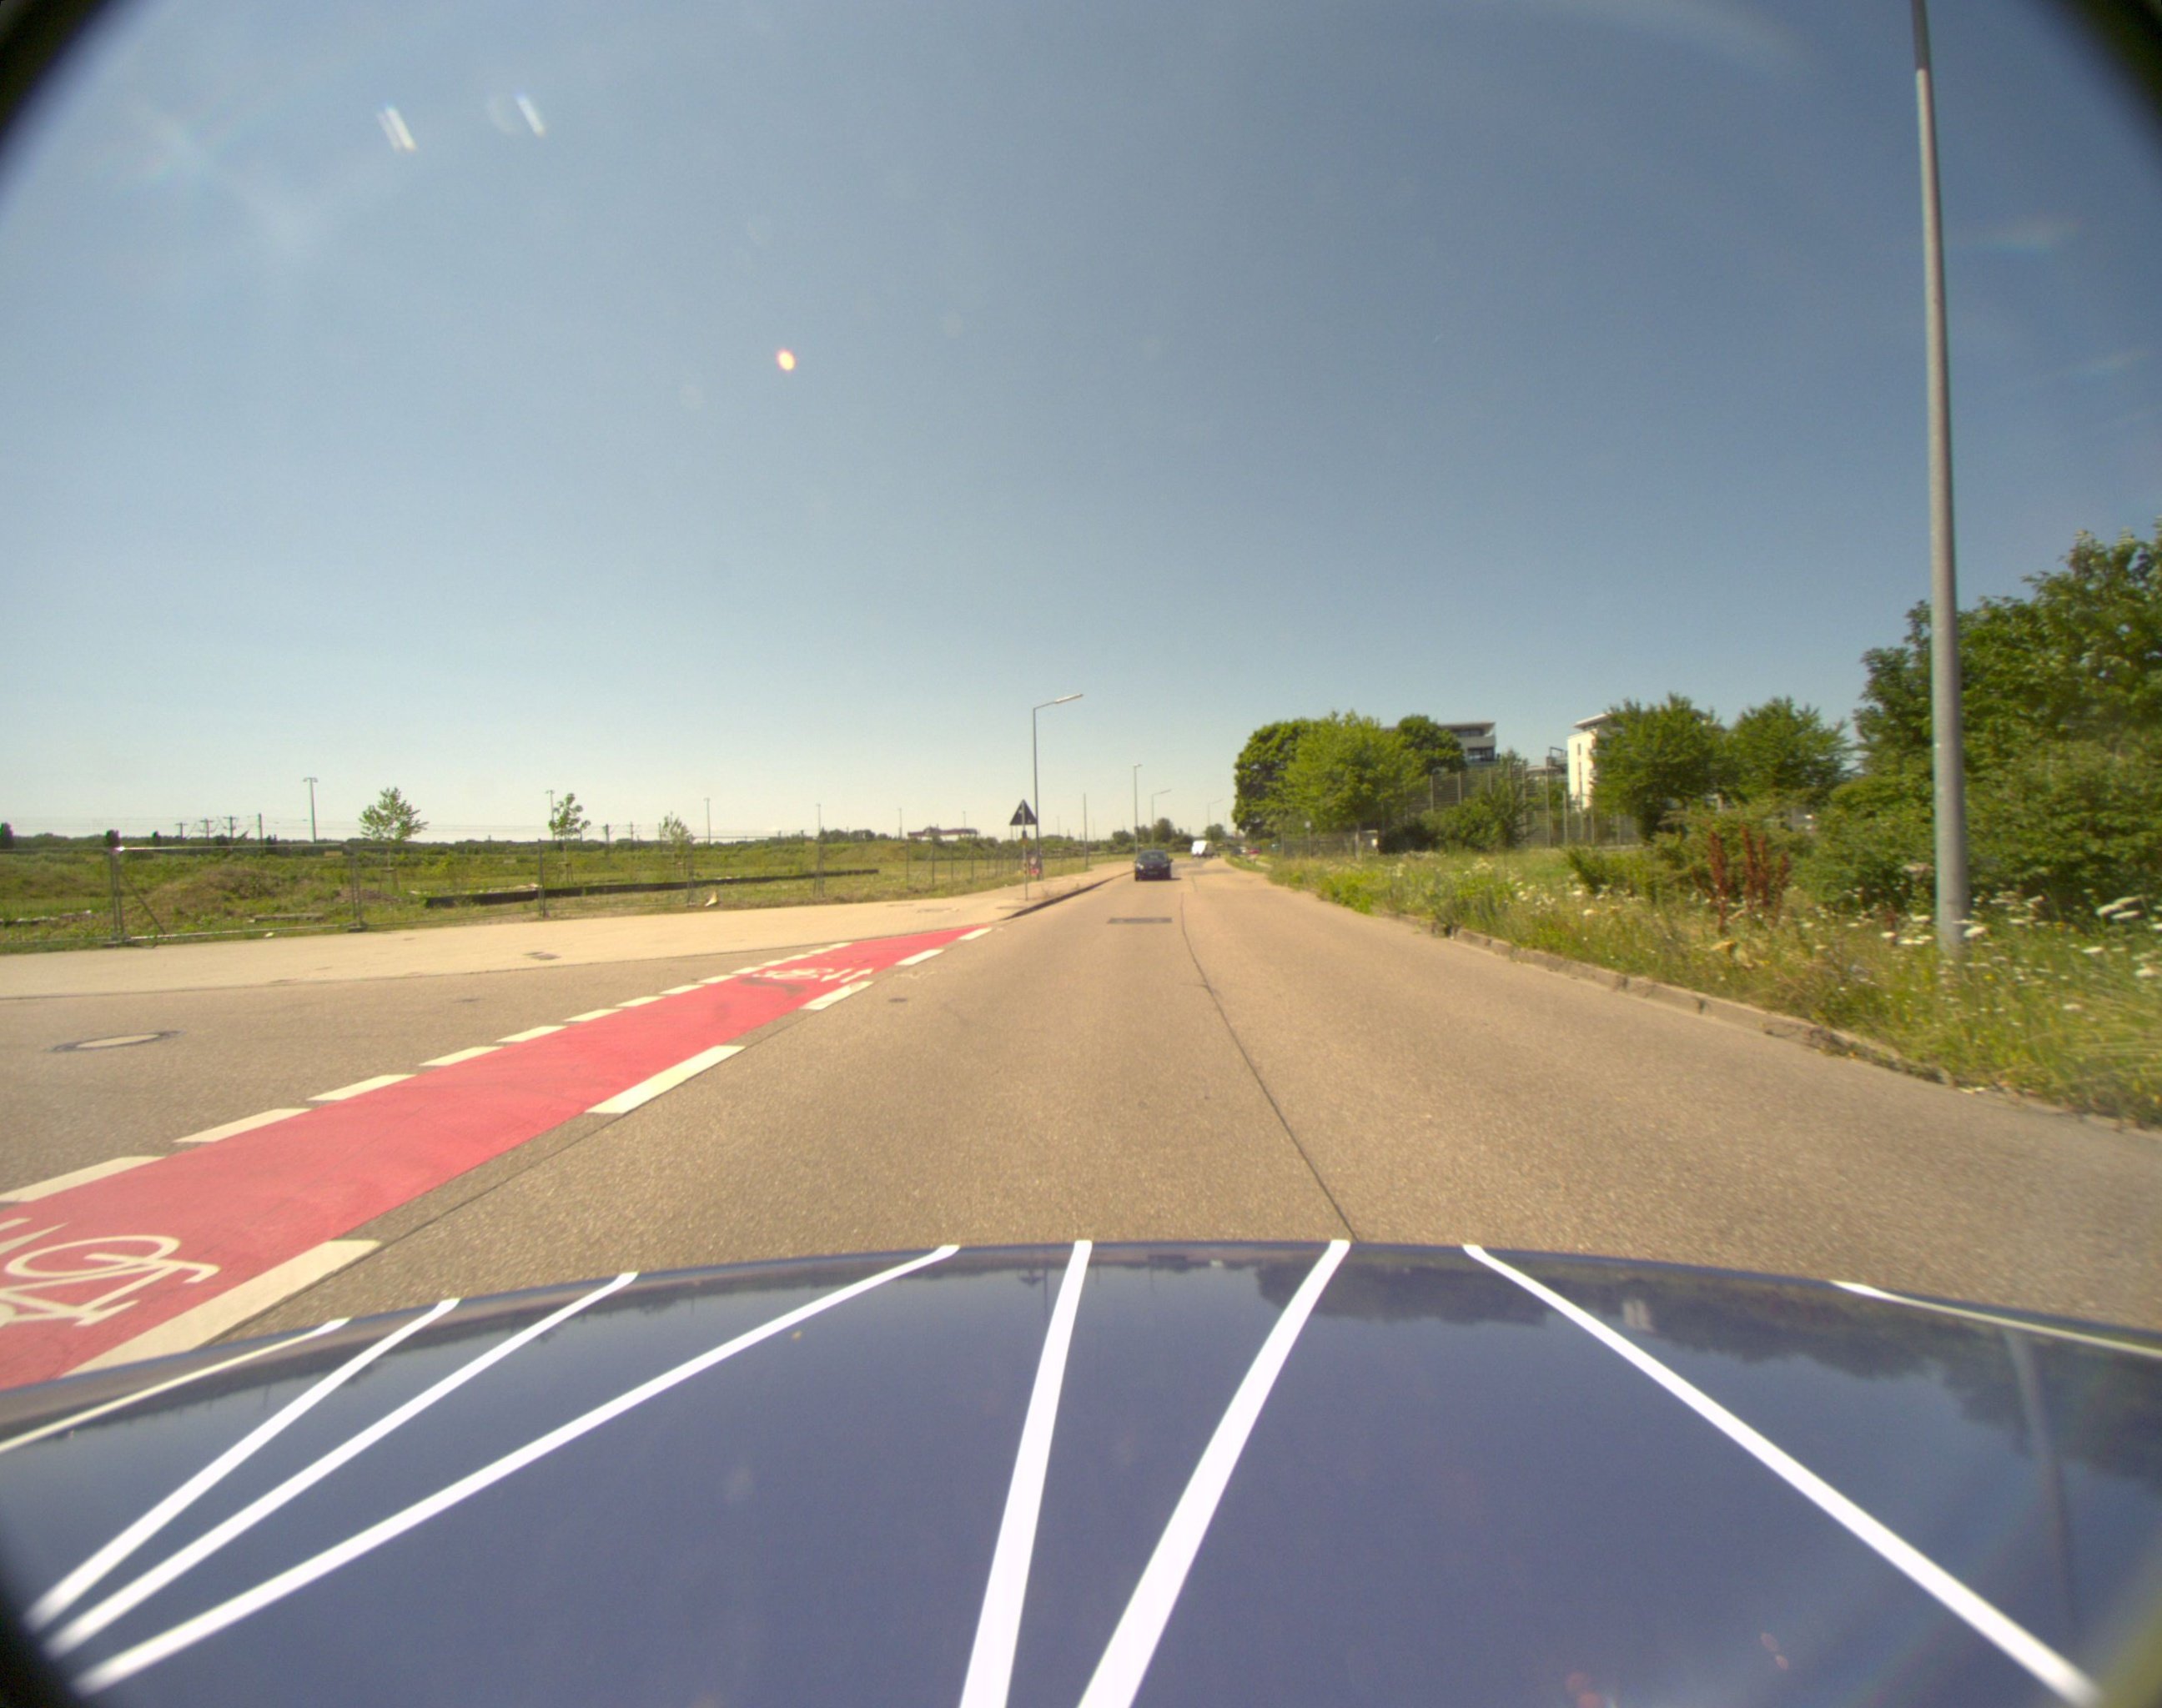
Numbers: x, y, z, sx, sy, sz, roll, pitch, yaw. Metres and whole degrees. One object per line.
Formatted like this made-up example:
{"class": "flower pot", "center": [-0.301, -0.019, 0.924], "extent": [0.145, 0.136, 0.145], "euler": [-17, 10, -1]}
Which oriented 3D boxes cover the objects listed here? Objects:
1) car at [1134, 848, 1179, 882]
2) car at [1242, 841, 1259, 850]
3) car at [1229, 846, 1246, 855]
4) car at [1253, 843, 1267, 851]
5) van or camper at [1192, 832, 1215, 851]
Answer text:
{"class": "car", "center": [3.673, 0.475, 36.571], "extent": [1.652, 1.458, 4.163], "euler": [-2, 0, 12]}
{"class": "car", "center": [30.623, -1.505, 137.317], "extent": [1.651, 1.458, 3.873], "euler": [-2, 1, 32]}
{"class": "car", "center": [27.209, -0.655, 132.330], "extent": [1.651, 1.458, 3.873], "euler": [-2, 0, 30]}
{"class": "car", "center": [34.906, -1.385, 148.194], "extent": [1.651, 1.458, 3.873], "euler": [-2, 0, 29]}
{"class": "van or camper", "center": [18.009, -1.853, 111.500], "extent": [2.138, 2.558, 5.874], "euler": [-2, 0, 21]}
